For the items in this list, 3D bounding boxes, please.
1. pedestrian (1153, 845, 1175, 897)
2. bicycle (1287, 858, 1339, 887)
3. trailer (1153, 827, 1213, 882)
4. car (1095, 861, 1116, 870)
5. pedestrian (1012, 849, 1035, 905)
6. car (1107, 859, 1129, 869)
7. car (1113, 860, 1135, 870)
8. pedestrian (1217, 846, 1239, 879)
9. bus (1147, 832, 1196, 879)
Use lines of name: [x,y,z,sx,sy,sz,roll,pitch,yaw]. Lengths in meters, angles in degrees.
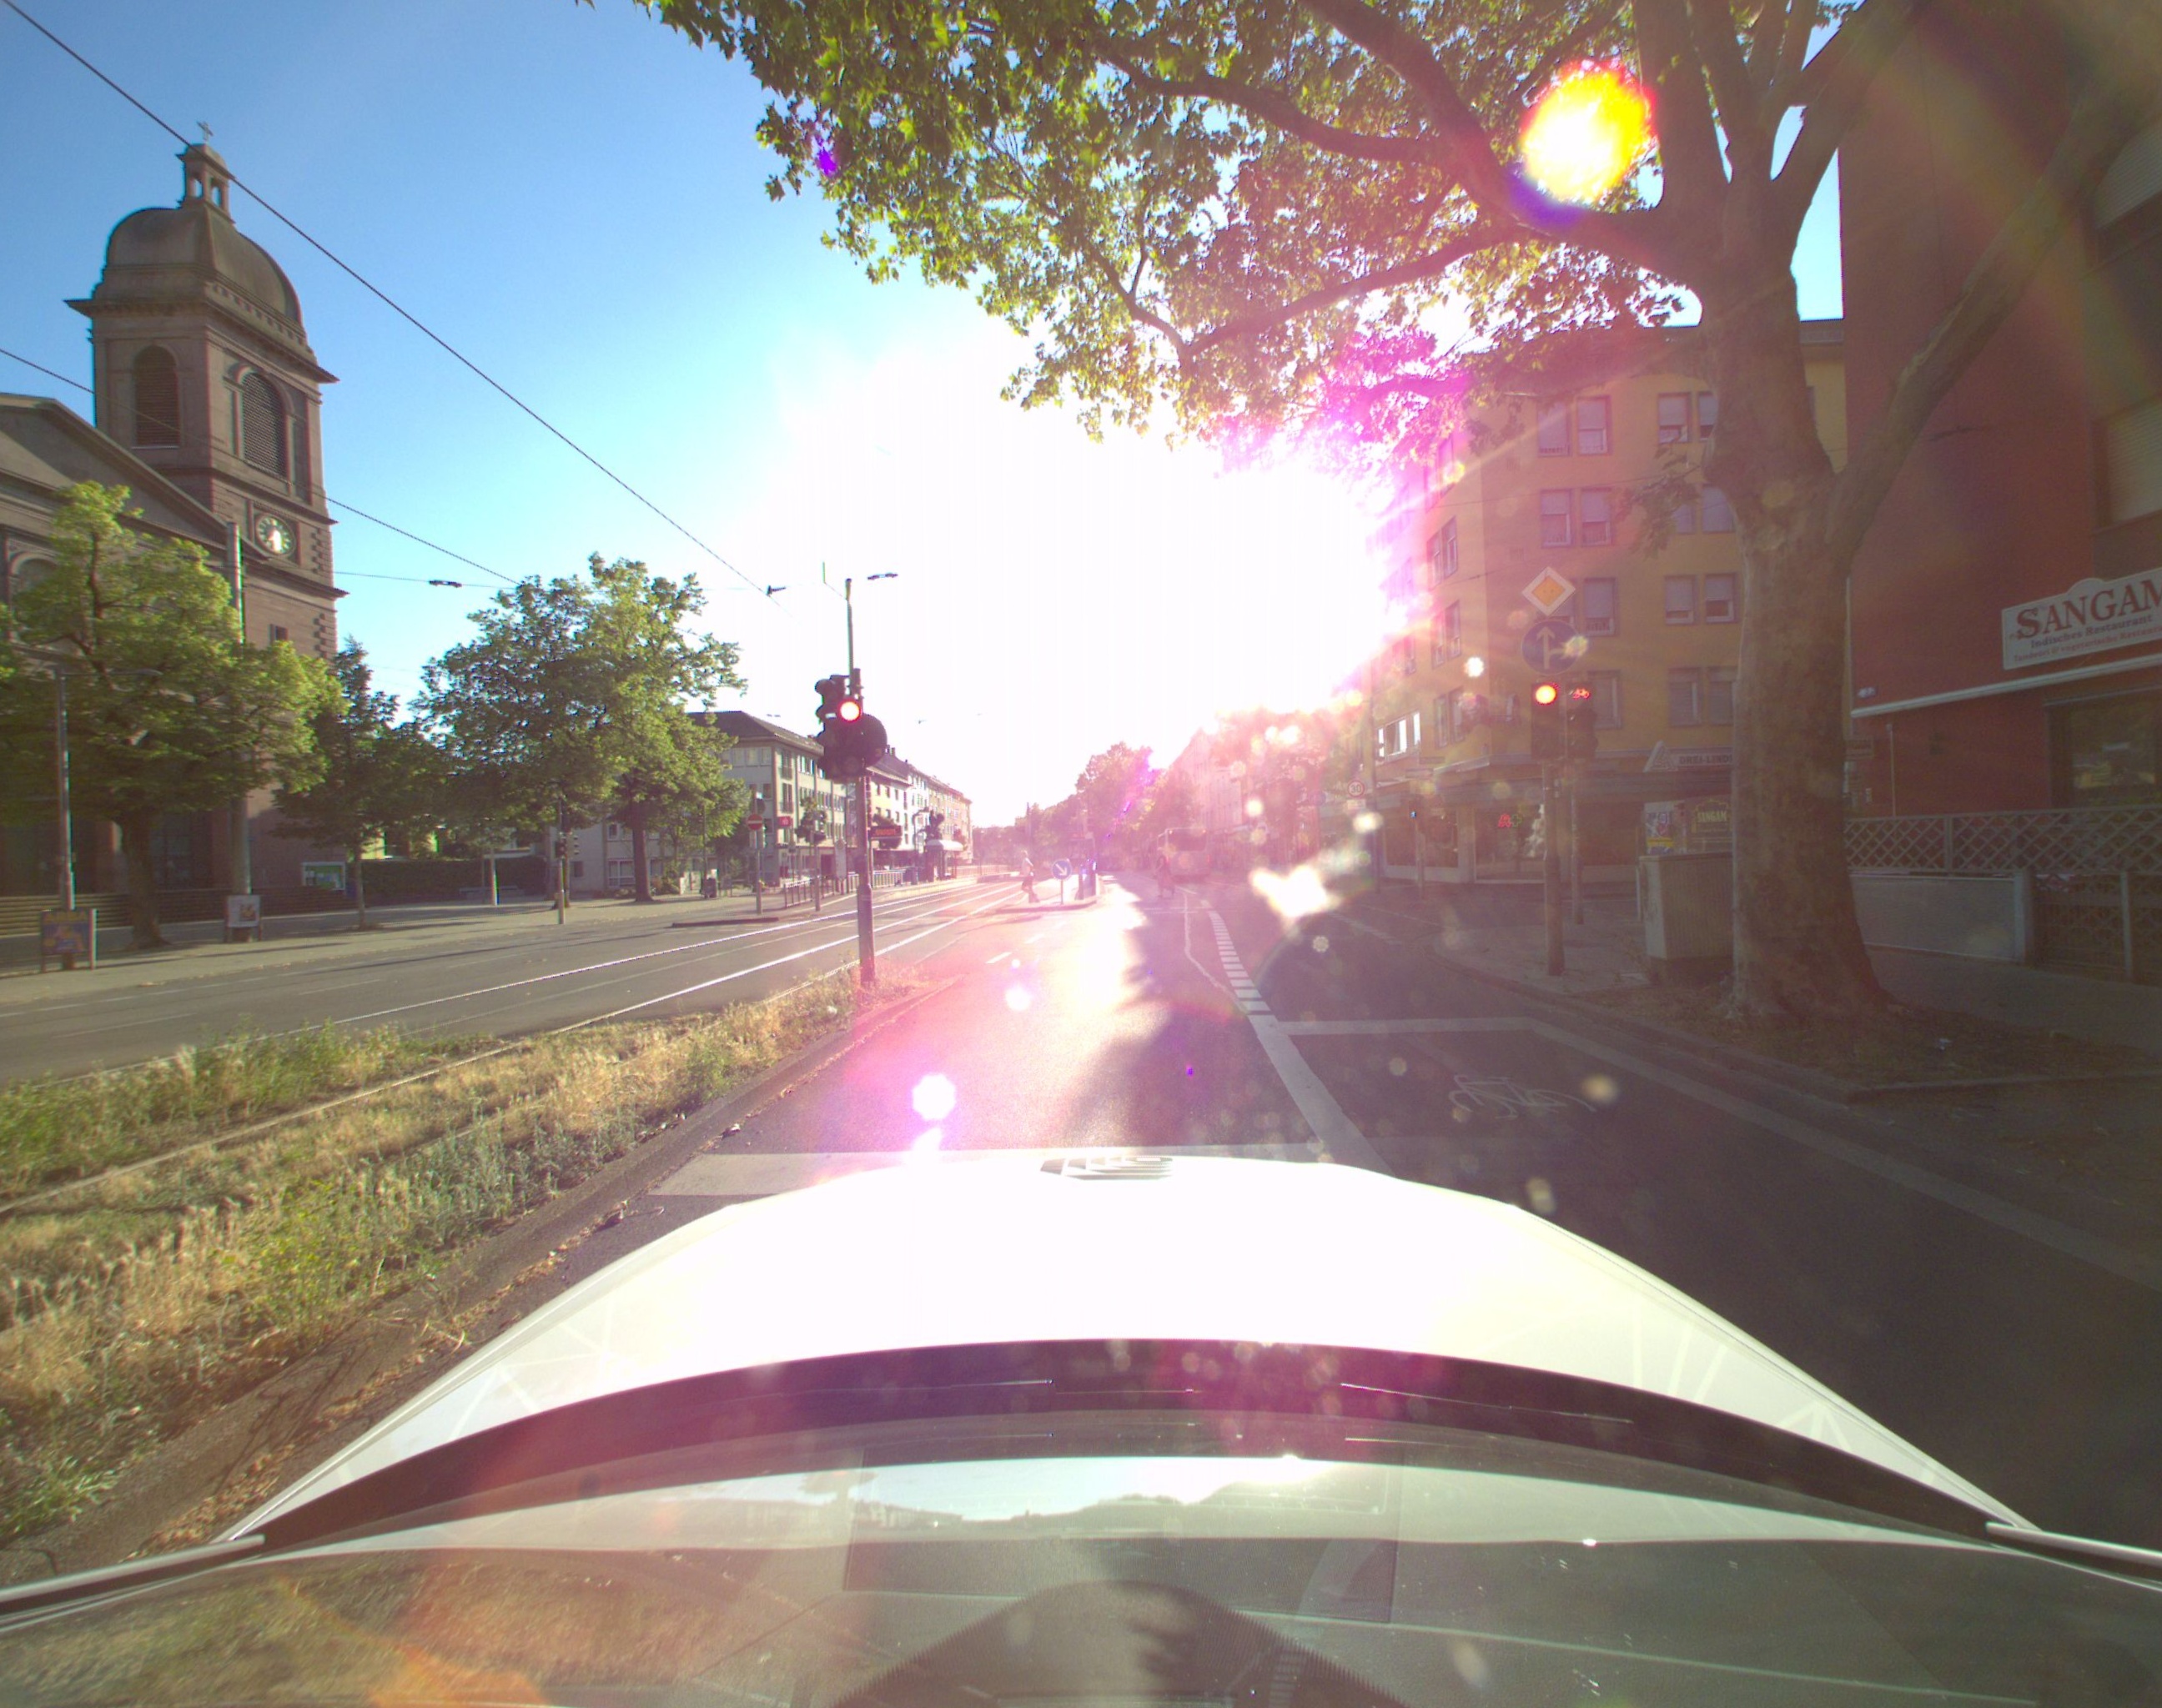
pedestrian: [2.920,0.597,28.755,0.677,1.770,0.687,-2,0,2]
bicycle: [8.896,0.703,31.246,1.766,1.021,0.694,-4,-1,1]
trailer: [6.102,0.057,49.982,2.801,3.110,8.797,0,0,2]
car: [5.023,2.315,166.938,3.911,1.596,1.676,-2,0,-27]
pedestrian: [-1.865,0.742,26.397,0.678,1.770,0.686,-2,0,-4]
car: [7.247,2.001,161.333,3.911,1.699,1.817,-2,0,-27]
car: [8.342,2.091,158.466,3.911,1.699,1.817,-2,0,-27]
pedestrian: [9.000,0.500,49.790,0.962,2.014,0.906,0,-1,-42]
bus: [6.394,0.120,58.925,2.801,3.101,9.097,0,0,2]
